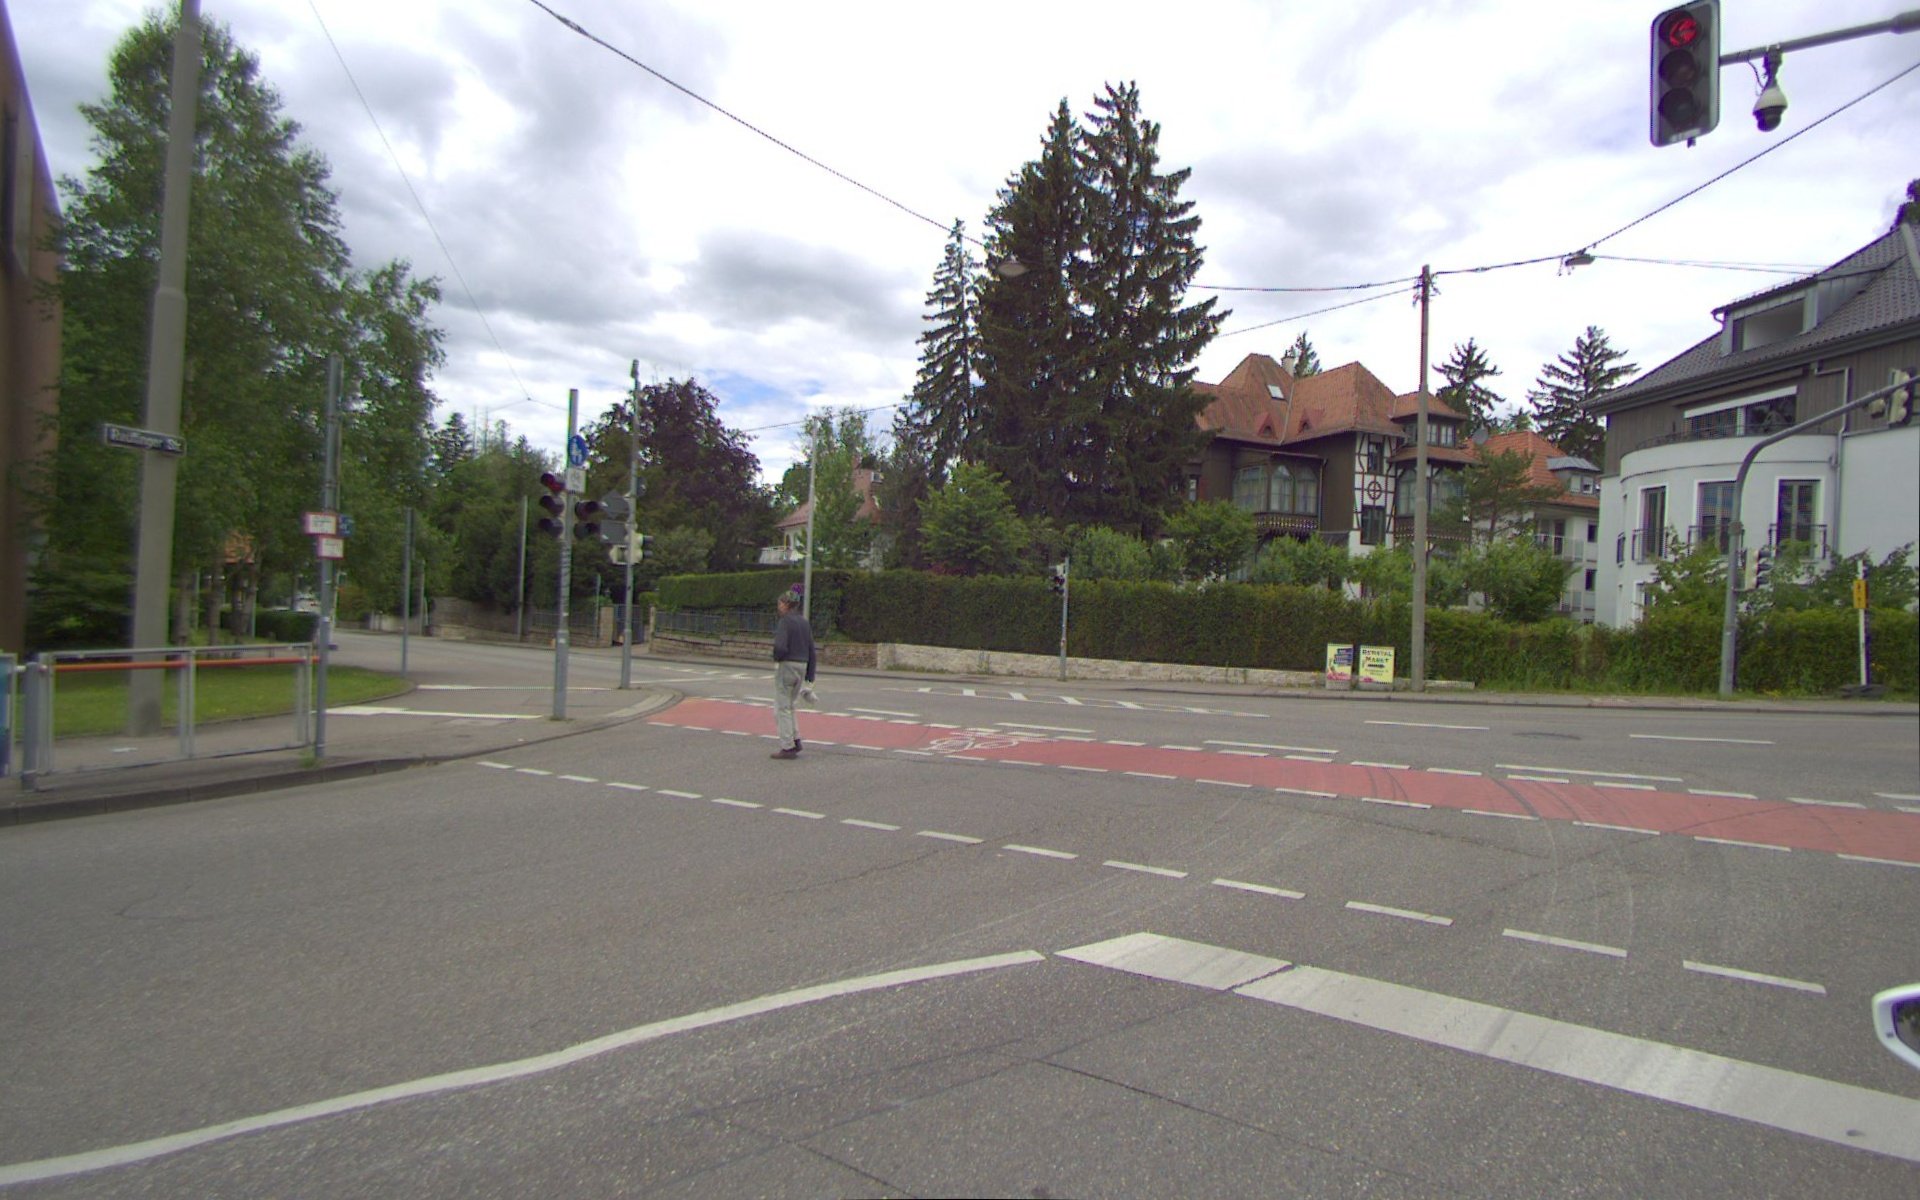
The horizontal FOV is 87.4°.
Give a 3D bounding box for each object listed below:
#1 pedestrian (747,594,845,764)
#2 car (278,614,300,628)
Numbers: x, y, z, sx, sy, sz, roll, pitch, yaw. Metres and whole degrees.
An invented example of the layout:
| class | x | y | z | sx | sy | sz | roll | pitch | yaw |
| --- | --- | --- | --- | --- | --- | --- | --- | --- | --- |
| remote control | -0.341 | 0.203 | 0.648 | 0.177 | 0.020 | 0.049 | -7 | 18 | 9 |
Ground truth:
| class | x | y | z | sx | sy | sz | roll | pitch | yaw |
| --- | --- | --- | --- | --- | --- | --- | --- | --- | --- |
| pedestrian | -1.664 | 0.777 | 10.225 | 0.726 | 1.655 | 0.683 | -1 | -1 | 22 |
| car | -82.991 | 2.629 | 124.210 | 1.798 | 1.734 | 3.990 | 2 | -2 | -39 |
